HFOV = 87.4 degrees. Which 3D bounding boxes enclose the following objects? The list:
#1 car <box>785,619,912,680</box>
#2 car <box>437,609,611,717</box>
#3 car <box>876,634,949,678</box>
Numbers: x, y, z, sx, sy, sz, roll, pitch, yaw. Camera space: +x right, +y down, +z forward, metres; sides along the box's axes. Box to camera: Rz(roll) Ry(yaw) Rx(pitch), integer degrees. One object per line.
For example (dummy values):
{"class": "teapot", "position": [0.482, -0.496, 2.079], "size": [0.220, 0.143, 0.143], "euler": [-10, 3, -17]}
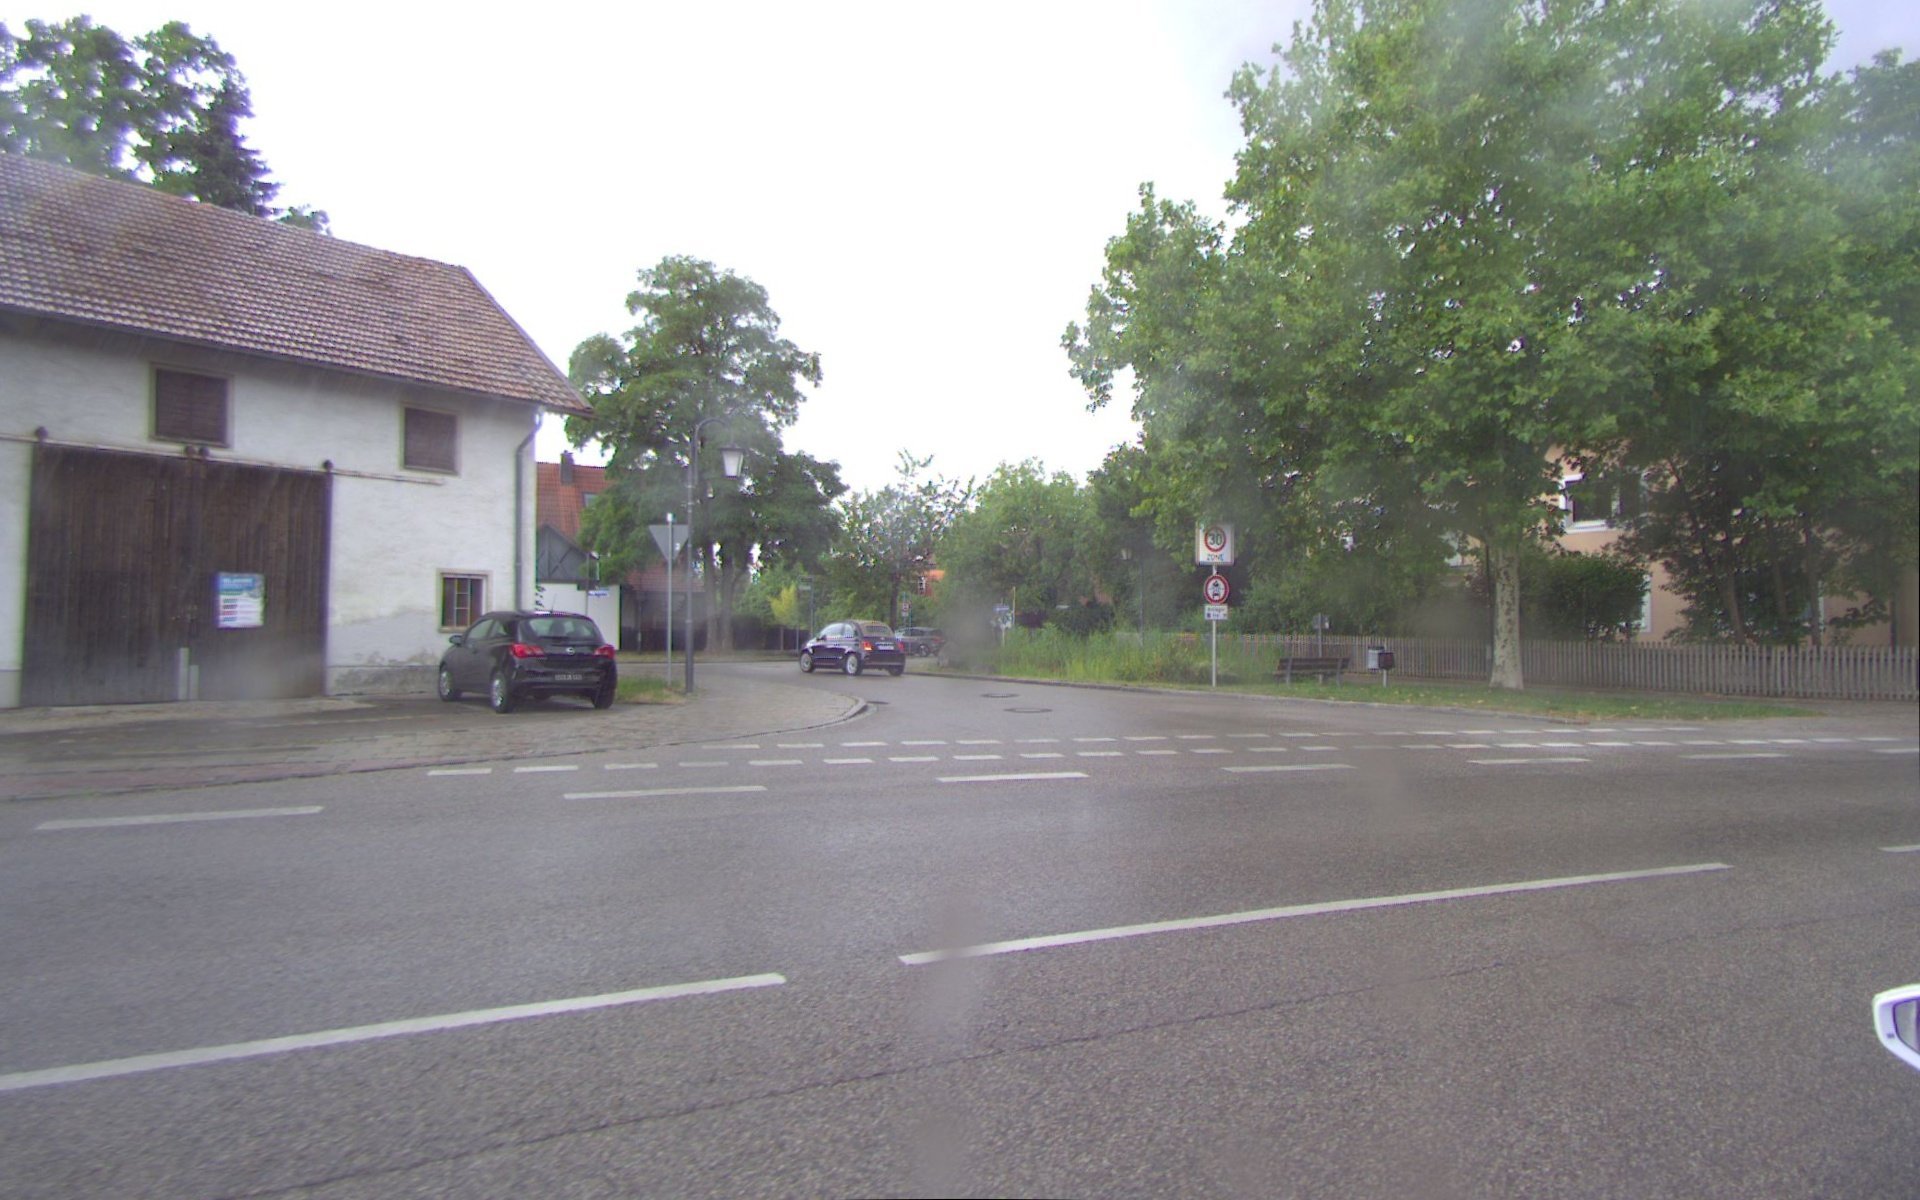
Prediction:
{"class": "car", "position": [-3.221, 1.332, 28.273], "size": [1.860, 1.569, 4.242], "euler": [2, -2, -33]}
{"class": "car", "position": [-7.003, 0.904, 15.880], "size": [1.802, 1.455, 4.242], "euler": [2, -2, -33]}
{"class": "car", "position": [-2.500, 2.882, 52.290], "size": [1.980, 2.040, 3.960], "euler": [2, 0, -35]}
